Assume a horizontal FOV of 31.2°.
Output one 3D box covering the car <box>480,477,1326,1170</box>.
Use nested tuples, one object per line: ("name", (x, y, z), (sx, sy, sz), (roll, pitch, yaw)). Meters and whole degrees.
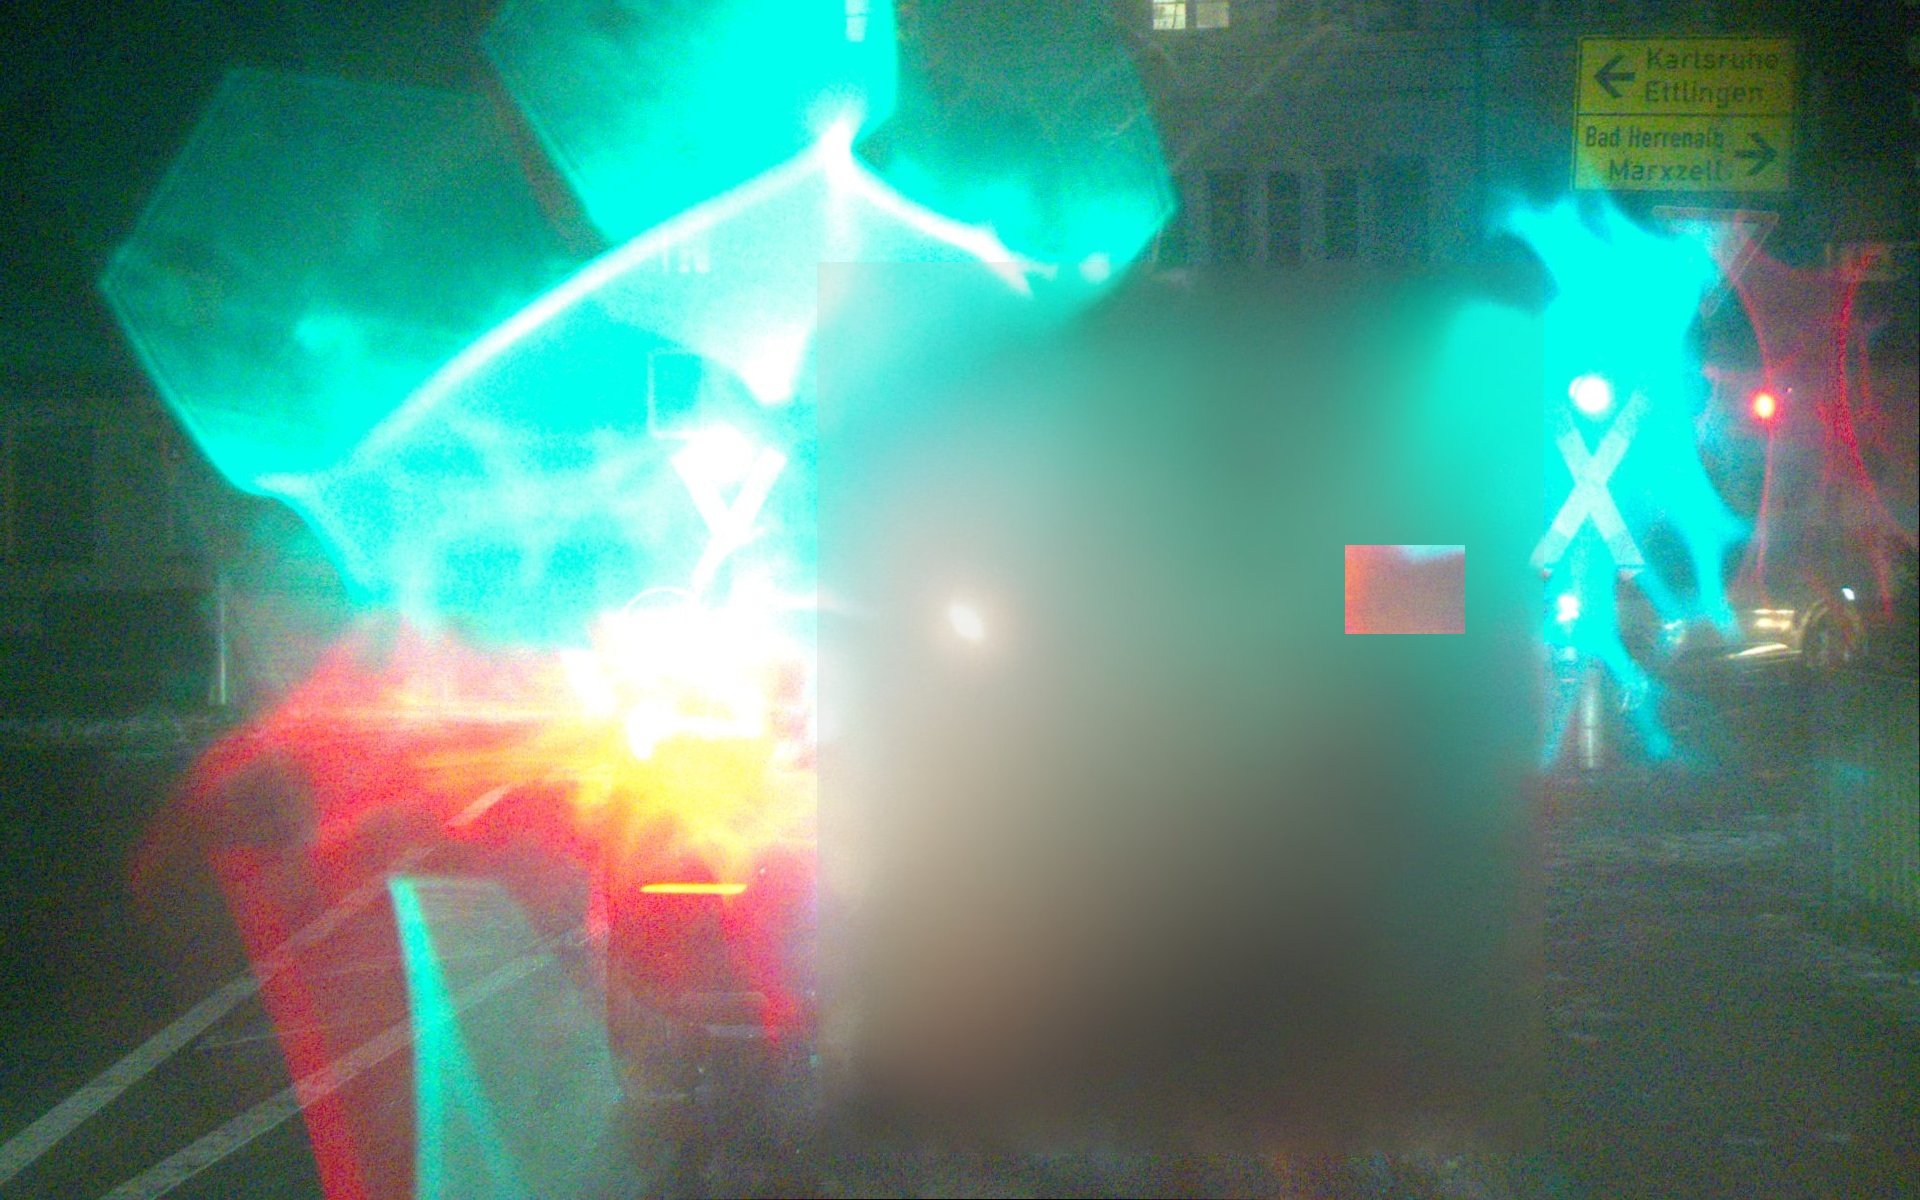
("car", (-0.183, 0.532, 10.579), (2.057, 1.672, 4.140), (1, 1, -1))

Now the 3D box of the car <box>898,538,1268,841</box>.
("car", (0.769, 0.442, 20.498), (1.910, 1.505, 4.241), (-3, 1, 3))

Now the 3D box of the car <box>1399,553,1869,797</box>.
("car", (6.060, 0.654, 30.680), (4.242, 1.940, 1.776), (1, 3, -41))
